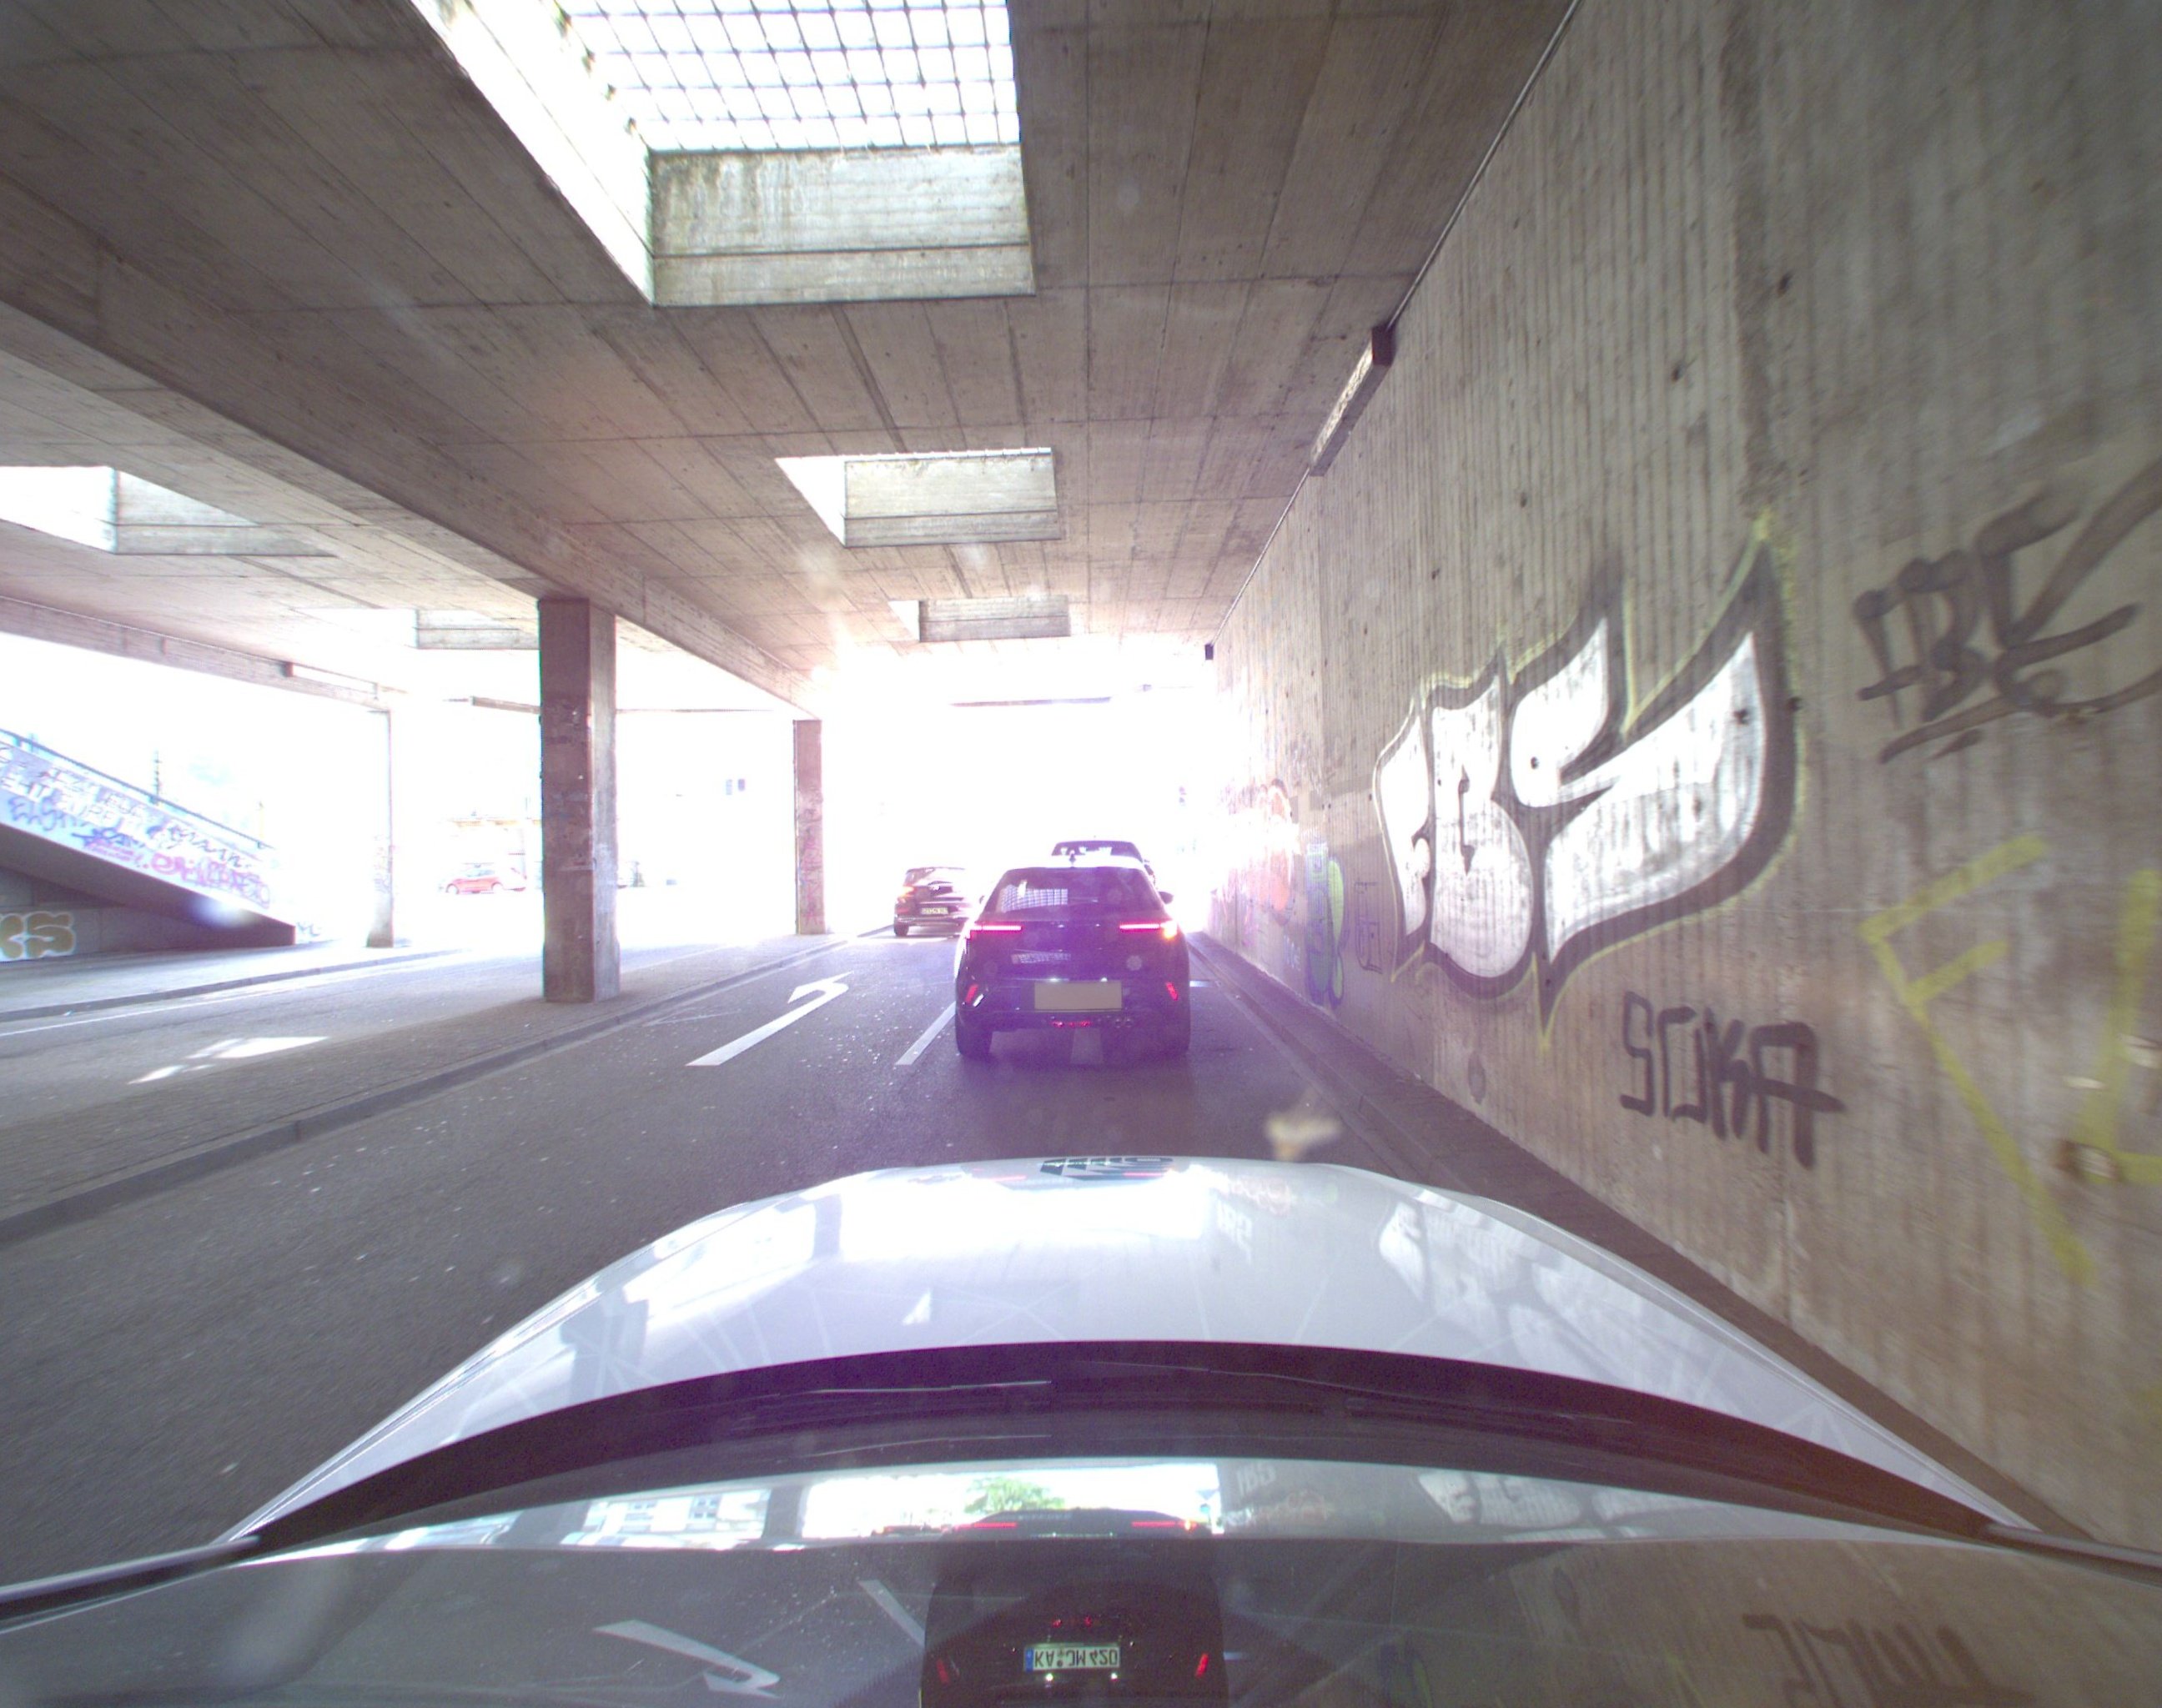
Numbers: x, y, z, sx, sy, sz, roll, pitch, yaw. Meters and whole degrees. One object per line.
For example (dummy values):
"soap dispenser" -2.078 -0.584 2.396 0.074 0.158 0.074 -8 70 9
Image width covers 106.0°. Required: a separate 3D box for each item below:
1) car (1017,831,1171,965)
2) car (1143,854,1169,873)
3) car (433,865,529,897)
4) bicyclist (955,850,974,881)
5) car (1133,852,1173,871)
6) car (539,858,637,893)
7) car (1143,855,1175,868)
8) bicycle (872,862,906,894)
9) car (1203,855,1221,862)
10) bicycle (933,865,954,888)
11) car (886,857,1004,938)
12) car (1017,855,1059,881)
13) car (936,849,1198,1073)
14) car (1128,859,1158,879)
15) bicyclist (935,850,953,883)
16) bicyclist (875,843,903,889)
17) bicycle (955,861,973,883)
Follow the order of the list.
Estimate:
"car" 0.163 0.620 13.962 2.127 1.835 4.938 -2 0 -1
"car" 6.707 0.816 72.703 1.693 1.512 3.877 -3 -1 13
"car" -33.006 1.478 44.881 3.863 1.540 1.900 -1 1 2
"bicyclist" -6.342 0.629 44.208 0.778 1.660 1.032 -1 0 3
"car" 10.296 1.091 115.805 5.267 2.545 1.976 -2 -1 -13
"car" -27.149 1.185 44.938 4.144 1.724 1.964 -1 1 2
"car" 12.820 1.226 133.503 4.905 2.083 1.970 -2 -1 -23
"bicycle" -7.410 0.912 31.555 0.695 1.090 1.863 -1 2 5
"car" 30.883 1.170 192.121 3.930 1.397 1.517 -4 -1 3
"bicycle" -6.863 1.107 40.704 0.523 1.090 1.864 -1 0 7
"car" -2.748 0.831 17.421 1.795 1.451 4.325 -2 0 -1
"car" -2.558 0.821 48.987 1.647 1.441 3.474 -2 0 12
"car" -0.040 0.735 7.450 1.775 1.517 3.757 -1 0 2
"car" 4.968 1.151 64.592 1.695 1.452 3.865 -2 0 14
"bicyclist" -6.860 0.622 40.785 0.602 1.632 0.911 -2 0 7
"bicyclist" -7.437 0.466 31.544 0.742 1.711 0.968 -1 1 4
"bicycle" -6.343 0.982 44.173 0.539 1.123 2.060 -1 0 3
